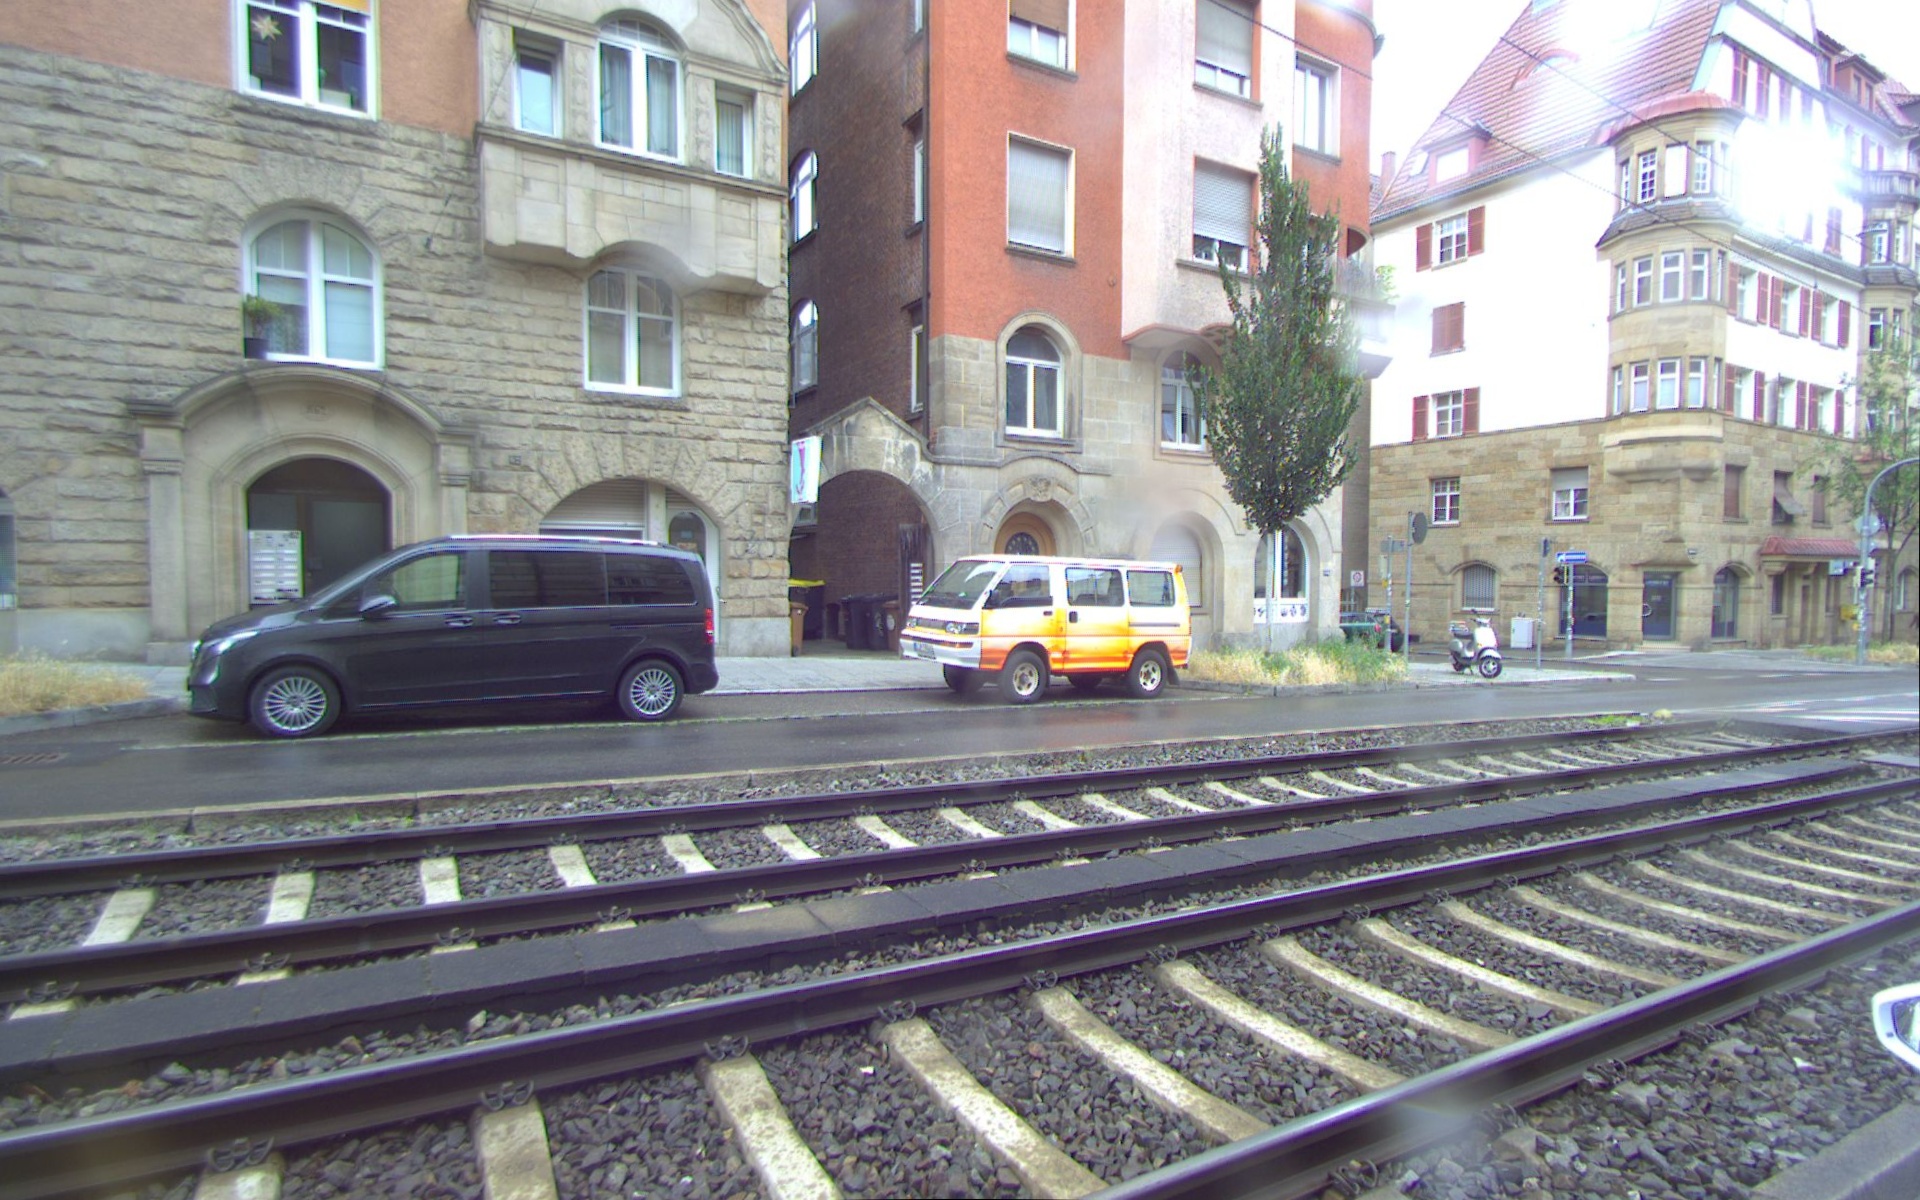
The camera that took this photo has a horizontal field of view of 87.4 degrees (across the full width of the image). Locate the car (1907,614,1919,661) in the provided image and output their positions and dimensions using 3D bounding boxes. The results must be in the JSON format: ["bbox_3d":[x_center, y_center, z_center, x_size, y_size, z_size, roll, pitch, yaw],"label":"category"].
[{"bbox_3d":[34.176,1.332,34.357,3.994,1.573,1.742,2,0,-34],"label":"car"}]

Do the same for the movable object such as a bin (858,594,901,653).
[{"bbox_3d":[-1.539,0.451,19.144,0.607,1.090,0.679,1,-1,-27],"label":"movable object such as a bin"}]

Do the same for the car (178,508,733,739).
[{"bbox_3d":[-5.045,0.261,10.599,4.769,1.968,1.984,2,0,-30],"label":"car"}]

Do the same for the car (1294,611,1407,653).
[{"bbox_3d":[14.469,1.164,37.348,1.683,1.423,3.618,2,0,-34],"label":"car"}]

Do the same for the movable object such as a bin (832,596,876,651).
[{"bbox_3d":[-2.077,0.456,19.690,0.607,1.052,0.793,1,-1,-27],"label":"movable object such as a bin"}]

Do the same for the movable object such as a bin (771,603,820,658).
[{"bbox_3d":[-2.885,0.534,17.595,0.627,0.918,0.793,1,1,-27],"label":"movable object such as a bin"}]

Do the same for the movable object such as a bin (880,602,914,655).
[{"bbox_3d":[-1.167,0.526,18.636,0.442,0.957,0.557,1,-1,-27],"label":"movable object such as a bin"}]

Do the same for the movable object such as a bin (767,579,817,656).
[{"bbox_3d":[-3.100,0.312,18.468,0.648,1.360,0.903,1,1,-27],"label":"movable object such as a bin"}]

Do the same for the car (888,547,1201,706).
[{"bbox_3d":[1.282,0.385,14.444,4.295,2.001,1.721,2,0,-32],"label":"car"}]

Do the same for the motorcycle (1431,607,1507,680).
[{"bbox_3d":[10.112,0.837,20.005,0.612,1.384,1.596,2,0,-3],"label":"motorcycle"}]

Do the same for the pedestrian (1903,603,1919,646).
[{"bbox_3d":[38.458,0.982,40.420,0.696,1.695,0.626,2,0,-37],"label":"pedestrian"}]

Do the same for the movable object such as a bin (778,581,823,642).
[{"bbox_3d":[-3.604,0.250,22.662,0.676,1.324,1.154,1,1,-26],"label":"movable object such as a bin"}]
